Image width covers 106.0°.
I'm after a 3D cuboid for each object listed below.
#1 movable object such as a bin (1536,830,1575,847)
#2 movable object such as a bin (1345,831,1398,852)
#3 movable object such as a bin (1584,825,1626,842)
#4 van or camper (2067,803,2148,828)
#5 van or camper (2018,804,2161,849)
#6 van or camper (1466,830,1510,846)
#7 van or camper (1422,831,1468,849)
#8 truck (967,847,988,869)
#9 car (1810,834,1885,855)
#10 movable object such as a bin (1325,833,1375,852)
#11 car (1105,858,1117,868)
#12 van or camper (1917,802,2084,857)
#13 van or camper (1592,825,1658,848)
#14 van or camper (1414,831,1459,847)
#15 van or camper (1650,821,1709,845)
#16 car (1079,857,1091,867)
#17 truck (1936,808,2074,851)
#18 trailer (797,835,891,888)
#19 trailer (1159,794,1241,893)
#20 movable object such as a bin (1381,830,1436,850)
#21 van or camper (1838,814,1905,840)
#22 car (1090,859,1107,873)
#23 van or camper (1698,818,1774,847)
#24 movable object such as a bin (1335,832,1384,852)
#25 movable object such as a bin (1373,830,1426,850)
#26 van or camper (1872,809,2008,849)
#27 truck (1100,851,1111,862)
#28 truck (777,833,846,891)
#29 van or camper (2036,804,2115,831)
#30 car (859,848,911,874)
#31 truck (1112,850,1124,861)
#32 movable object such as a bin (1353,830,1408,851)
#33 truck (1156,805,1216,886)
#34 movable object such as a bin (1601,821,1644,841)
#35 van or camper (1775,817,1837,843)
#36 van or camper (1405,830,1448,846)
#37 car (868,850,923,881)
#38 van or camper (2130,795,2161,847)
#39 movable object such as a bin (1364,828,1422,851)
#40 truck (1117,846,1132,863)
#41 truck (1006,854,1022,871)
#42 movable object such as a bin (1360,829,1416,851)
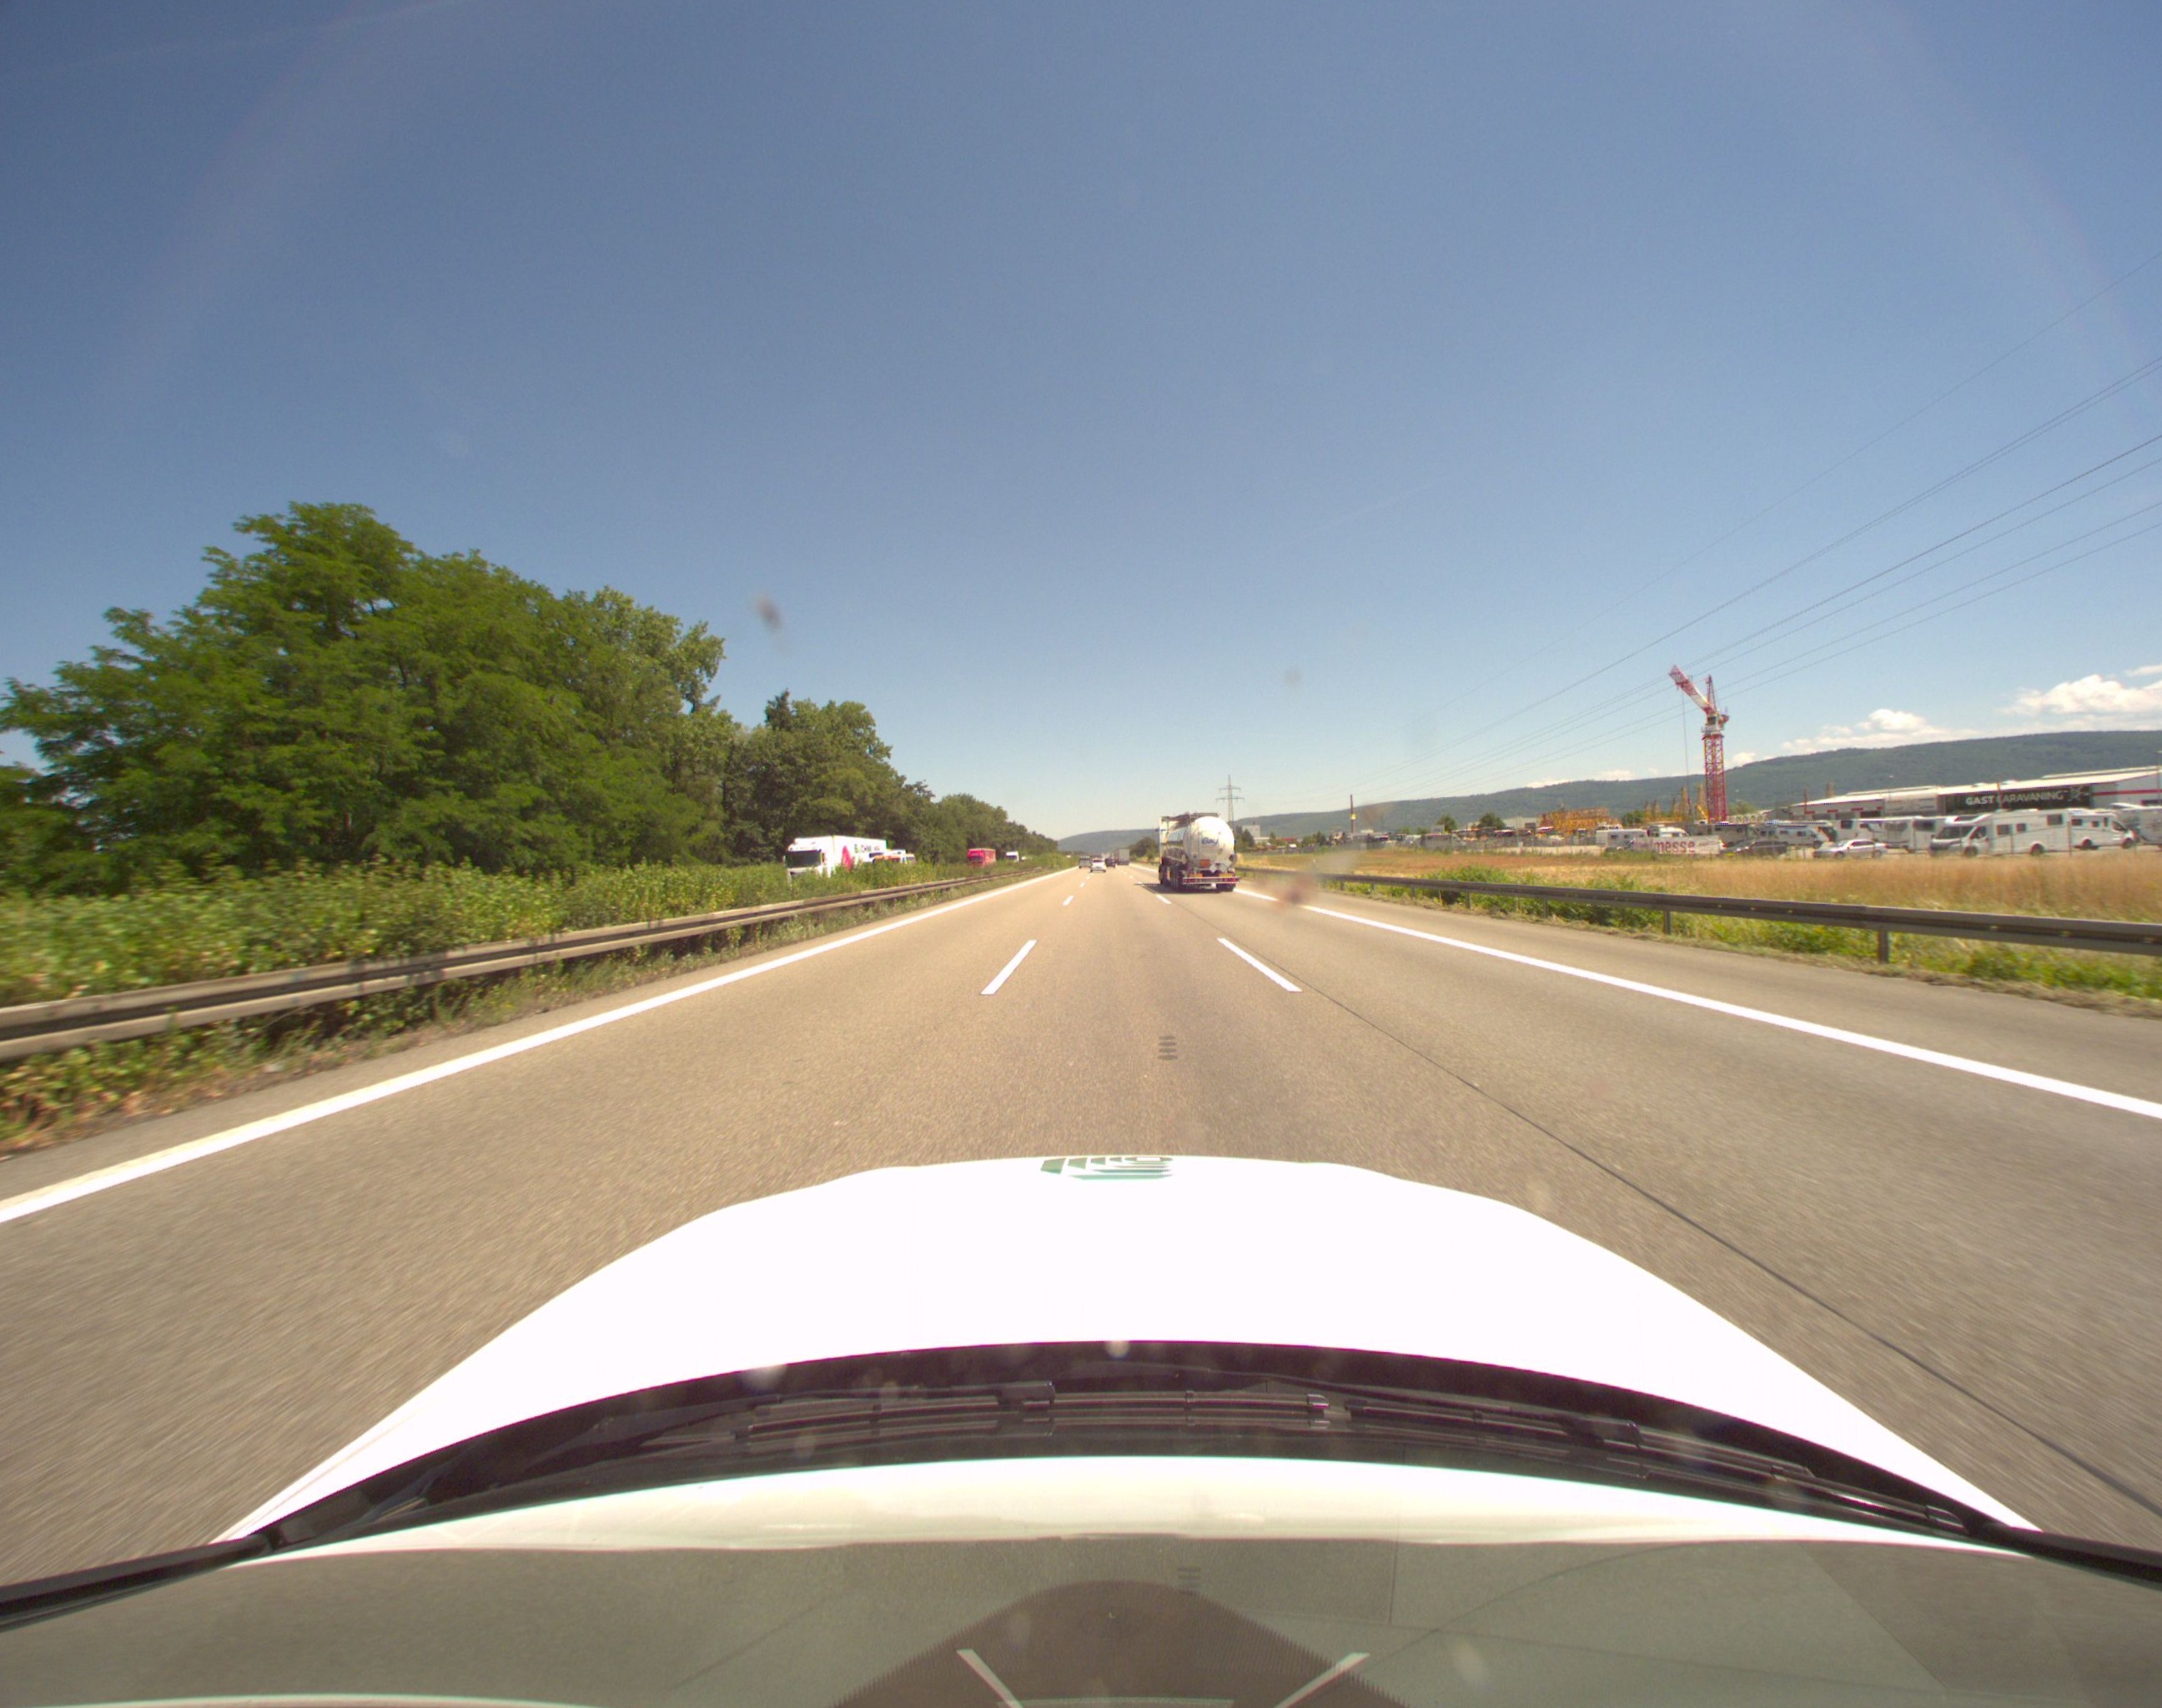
[{"bbox_3d":[82.872,-2.637,142.510,2.902,2.554,6.810,-3,-1,2],"label":"movable object such as a bin"},{"bbox_3d":[59.764,-2.637,167.724,9.675,3.689,2.635,-4,-1,3],"label":"movable object such as a bin"},{"bbox_3d":[90.911,-3.596,141.506,2.902,2.554,6.810,-3,-1,2],"label":"movable object such as a bin"},{"bbox_3d":[112.678,-4.230,89.417,5.922,2.385,2.502,-3,0,-2],"label":"van or camper"},{"bbox_3d":[71.514,-1.921,57.652,7.721,2.881,2.601,-2,0,-4],"label":"van or camper"},{"bbox_3d":[70.208,-2.759,140.545,6.091,2.402,2.604,-3,0,3],"label":"van or camper"},{"bbox_3d":[58.294,-2.171,130.499,6.316,2.552,2.440,-3,0,3],"label":"van or camper"},{"bbox_3d":[-16.428,0.601,129.967,2.589,3.422,5.118,0,0,1],"label":"truck"},{"bbox_3d":[55.058,-0.668,58.529,3.875,1.298,1.587,-2,0,2],"label":"car"},{"bbox_3d":[60.074,-2.531,182.079,10.217,3.689,2.394,-3,-1,1],"label":"movable object such as a bin"},{"bbox_3d":[4.810,1.380,129.232,1.878,1.515,4.002,0,0,2],"label":"car"},{"bbox_3d":[57.190,-1.503,50.760,7.715,3.101,2.433,-2,0,-1],"label":"van or camper"},{"bbox_3d":[70.992,-2.270,106.434,6.330,2.677,3.325,-3,0,0],"label":"van or camper"},{"bbox_3d":[58.321,-2.465,133.696,6.091,2.220,2.604,-3,0,3],"label":"van or camper"},{"bbox_3d":[73.560,-2.595,100.162,5.241,2.677,2.616,-3,0,-1],"label":"van or camper"},{"bbox_3d":[0.598,1.285,132.884,1.845,1.633,4.002,0,0,2],"label":"car"},{"bbox_3d":[68.763,-1.767,60.701,7.721,2.881,2.601,-2,0,-4],"label":"truck"},{"bbox_3d":[-18.066,0.547,63.496,2.815,3.710,13.933,0,0,2],"label":"trailer"},{"bbox_3d":[5.489,-0.427,39.392,2.570,4.074,11.105,0,0,1],"label":"trailer"},{"bbox_3d":[59.433,-2.507,147.892,8.682,3.006,3.220,-4,-1,7],"label":"movable object such as a bin"},{"bbox_3d":[87.333,-2.996,89.996,5.306,2.556,2.416,-3,0,-6],"label":"van or camper"},{"bbox_3d":[1.967,1.311,91.466,1.800,1.468,4.002,0,0,2],"label":"car"},{"bbox_3d":[72.869,-2.365,90.622,6.425,2.767,2.422,-3,0,-1],"label":"van or camper"},{"bbox_3d":[60.918,-2.576,178.256,9.682,3.689,2.679,-3,-1,1],"label":"movable object such as a bin"},{"bbox_3d":[59.176,-2.564,151.545,8.679,3.006,2.962,-4,-1,8],"label":"movable object such as a bin"},{"bbox_3d":[68.161,-1.948,64.716,7.721,2.881,3.152,-2,0,-4],"label":"van or camper"},{"bbox_3d":[7.496,0.702,250.318,3.086,3.474,11.545,0,0,1],"label":"truck"},{"bbox_3d":[-18.318,0.532,55.687,2.784,3.721,5.120,0,0,2],"label":"truck"},{"bbox_3d":[112.883,-4.152,92.502,5.922,2.731,2.644,-3,0,-2],"label":"van or camper"},{"bbox_3d":[-14.370,0.499,60.092,2.293,1.780,5.427,0,0,3],"label":"car"},{"bbox_3d":[11.172,0.470,246.825,3.086,3.474,11.545,0,0,1],"label":"truck"},{"bbox_3d":[60.204,-2.698,163.779,9.675,3.689,2.979,-4,-1,3],"label":"movable object such as a bin"},{"bbox_3d":[5.601,-0.414,44.220,2.564,4.072,6.394,0,0,1],"label":"truck"},{"bbox_3d":[94.055,-3.907,141.551,2.902,3.029,6.810,-3,-1,2],"label":"movable object such as a bin"},{"bbox_3d":[87.648,-2.897,98.490,5.250,2.765,2.611,-3,0,-6],"label":"van or camper"},{"bbox_3d":[58.084,-2.622,136.941,6.091,2.402,2.604,-3,0,3],"label":"van or camper"},{"bbox_3d":[-11.092,0.673,49.110,2.086,1.780,5.459,0,0,-1],"label":"car"},{"bbox_3d":[71.133,-2.193,51.170,7.726,3.193,2.670,-2,0,-6],"label":"van or camper"},{"bbox_3d":[59.289,-2.780,155.116,9.664,3.689,3.425,-4,-1,7],"label":"movable object such as a bin"},{"bbox_3d":[10.077,0.054,190.321,3.253,3.857,11.634,0,0,1],"label":"truck"},{"bbox_3d":[-14.539,1.822,176.429,2.580,3.705,6.833,0,0,3],"label":"truck"},{"bbox_3d":[59.674,-2.757,158.634,9.664,3.689,2.982,-4,-1,7],"label":"movable object such as a bin"}]
